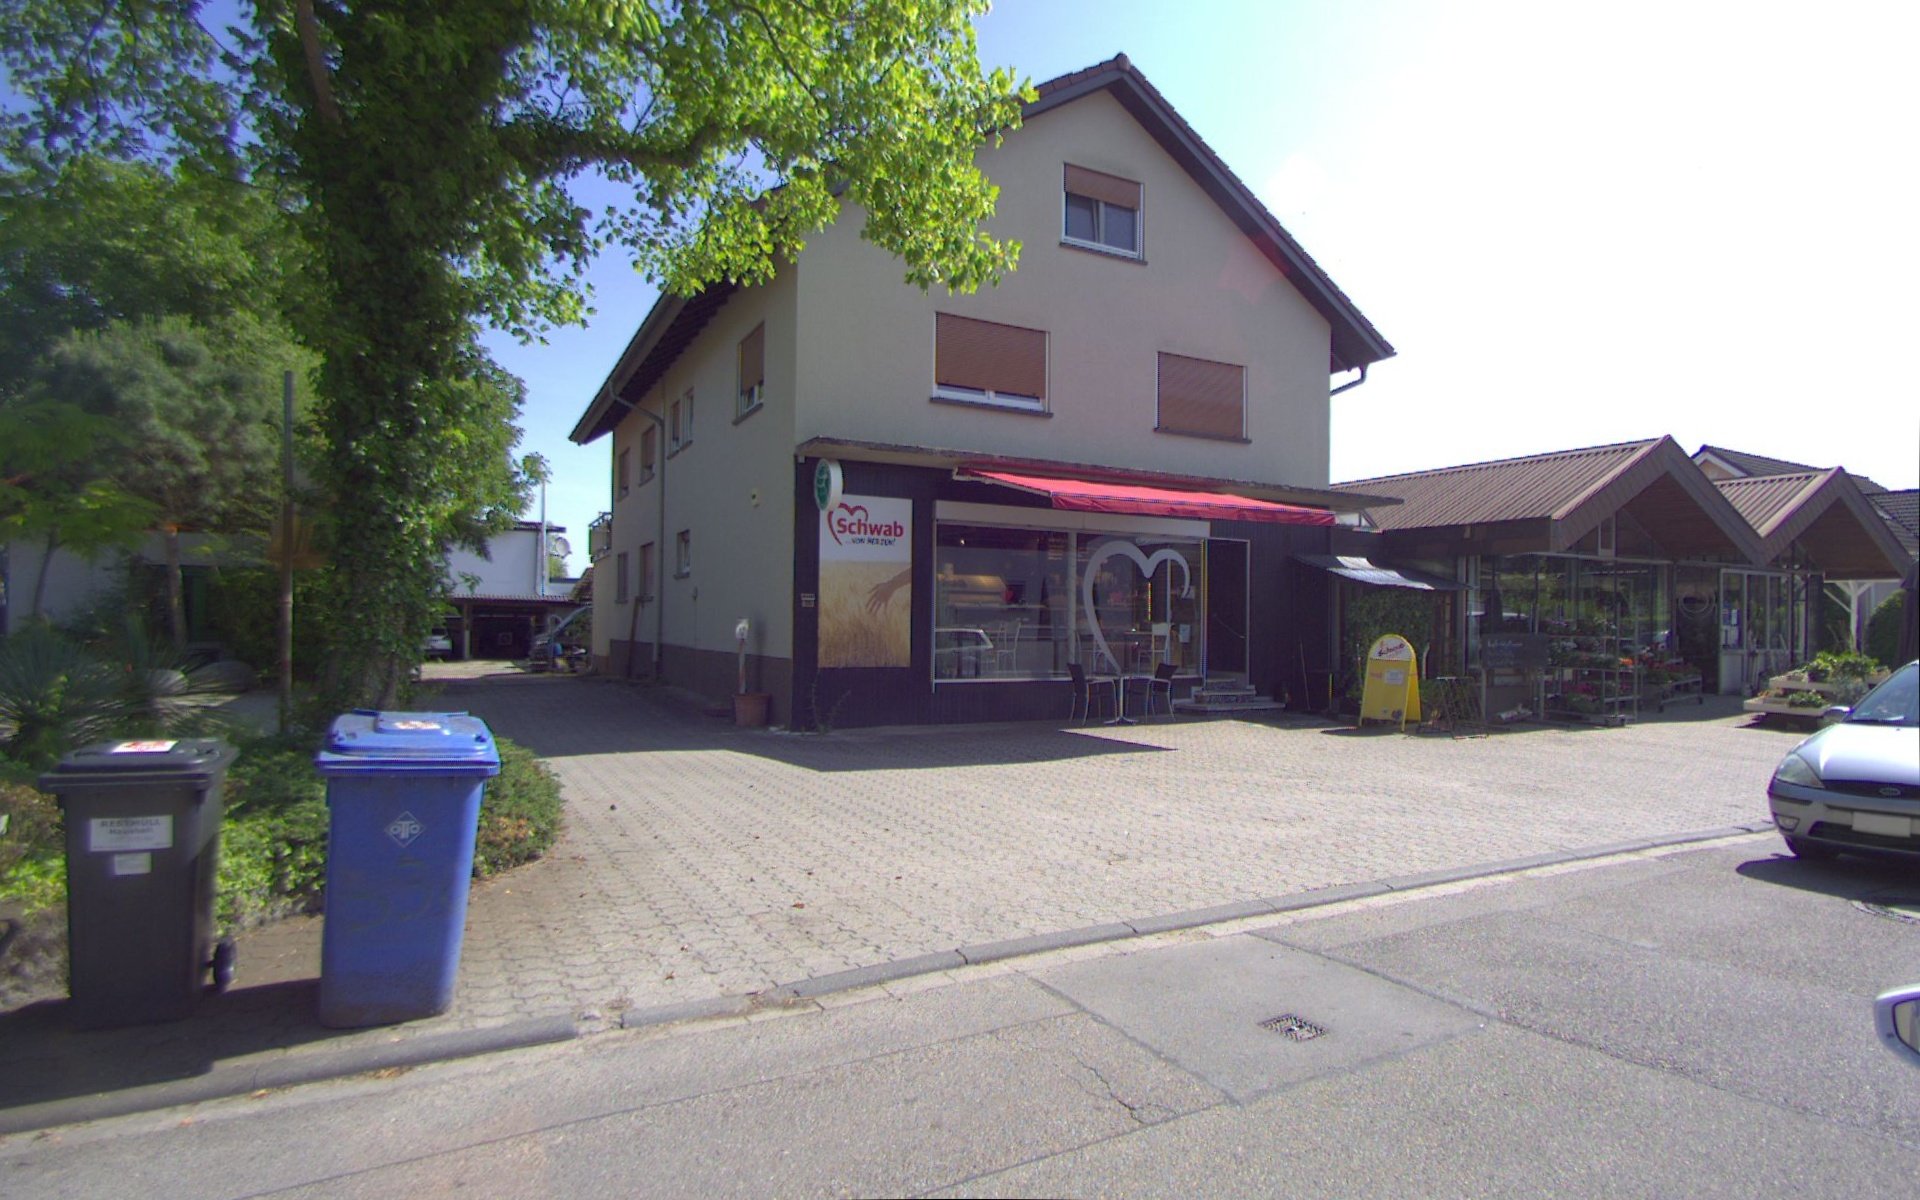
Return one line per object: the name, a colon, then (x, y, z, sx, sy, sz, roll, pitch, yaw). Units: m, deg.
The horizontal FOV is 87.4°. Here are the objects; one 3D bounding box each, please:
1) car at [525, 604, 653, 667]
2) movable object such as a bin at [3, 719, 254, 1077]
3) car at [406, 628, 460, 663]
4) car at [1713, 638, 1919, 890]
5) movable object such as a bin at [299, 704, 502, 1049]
car: (-15.123, 1.445, 40.994, 4.595, 2.441, 2.178, 1, -2, -30)
movable object such as a bin: (-2.881, 0.980, 3.539, 0.561, 1.038, 0.580, 1, 0, -29)
car: (-23.318, 1.985, 44.554, 1.876, 1.461, 3.976, 1, -2, -24)
car: (7.609, 1.037, 7.165, 4.317, 1.506, 1.748, 1, -4, -26)
movable object such as a bin: (-2.118, 0.978, 3.842, 0.605, 1.068, 0.728, 1, 0, -29)
